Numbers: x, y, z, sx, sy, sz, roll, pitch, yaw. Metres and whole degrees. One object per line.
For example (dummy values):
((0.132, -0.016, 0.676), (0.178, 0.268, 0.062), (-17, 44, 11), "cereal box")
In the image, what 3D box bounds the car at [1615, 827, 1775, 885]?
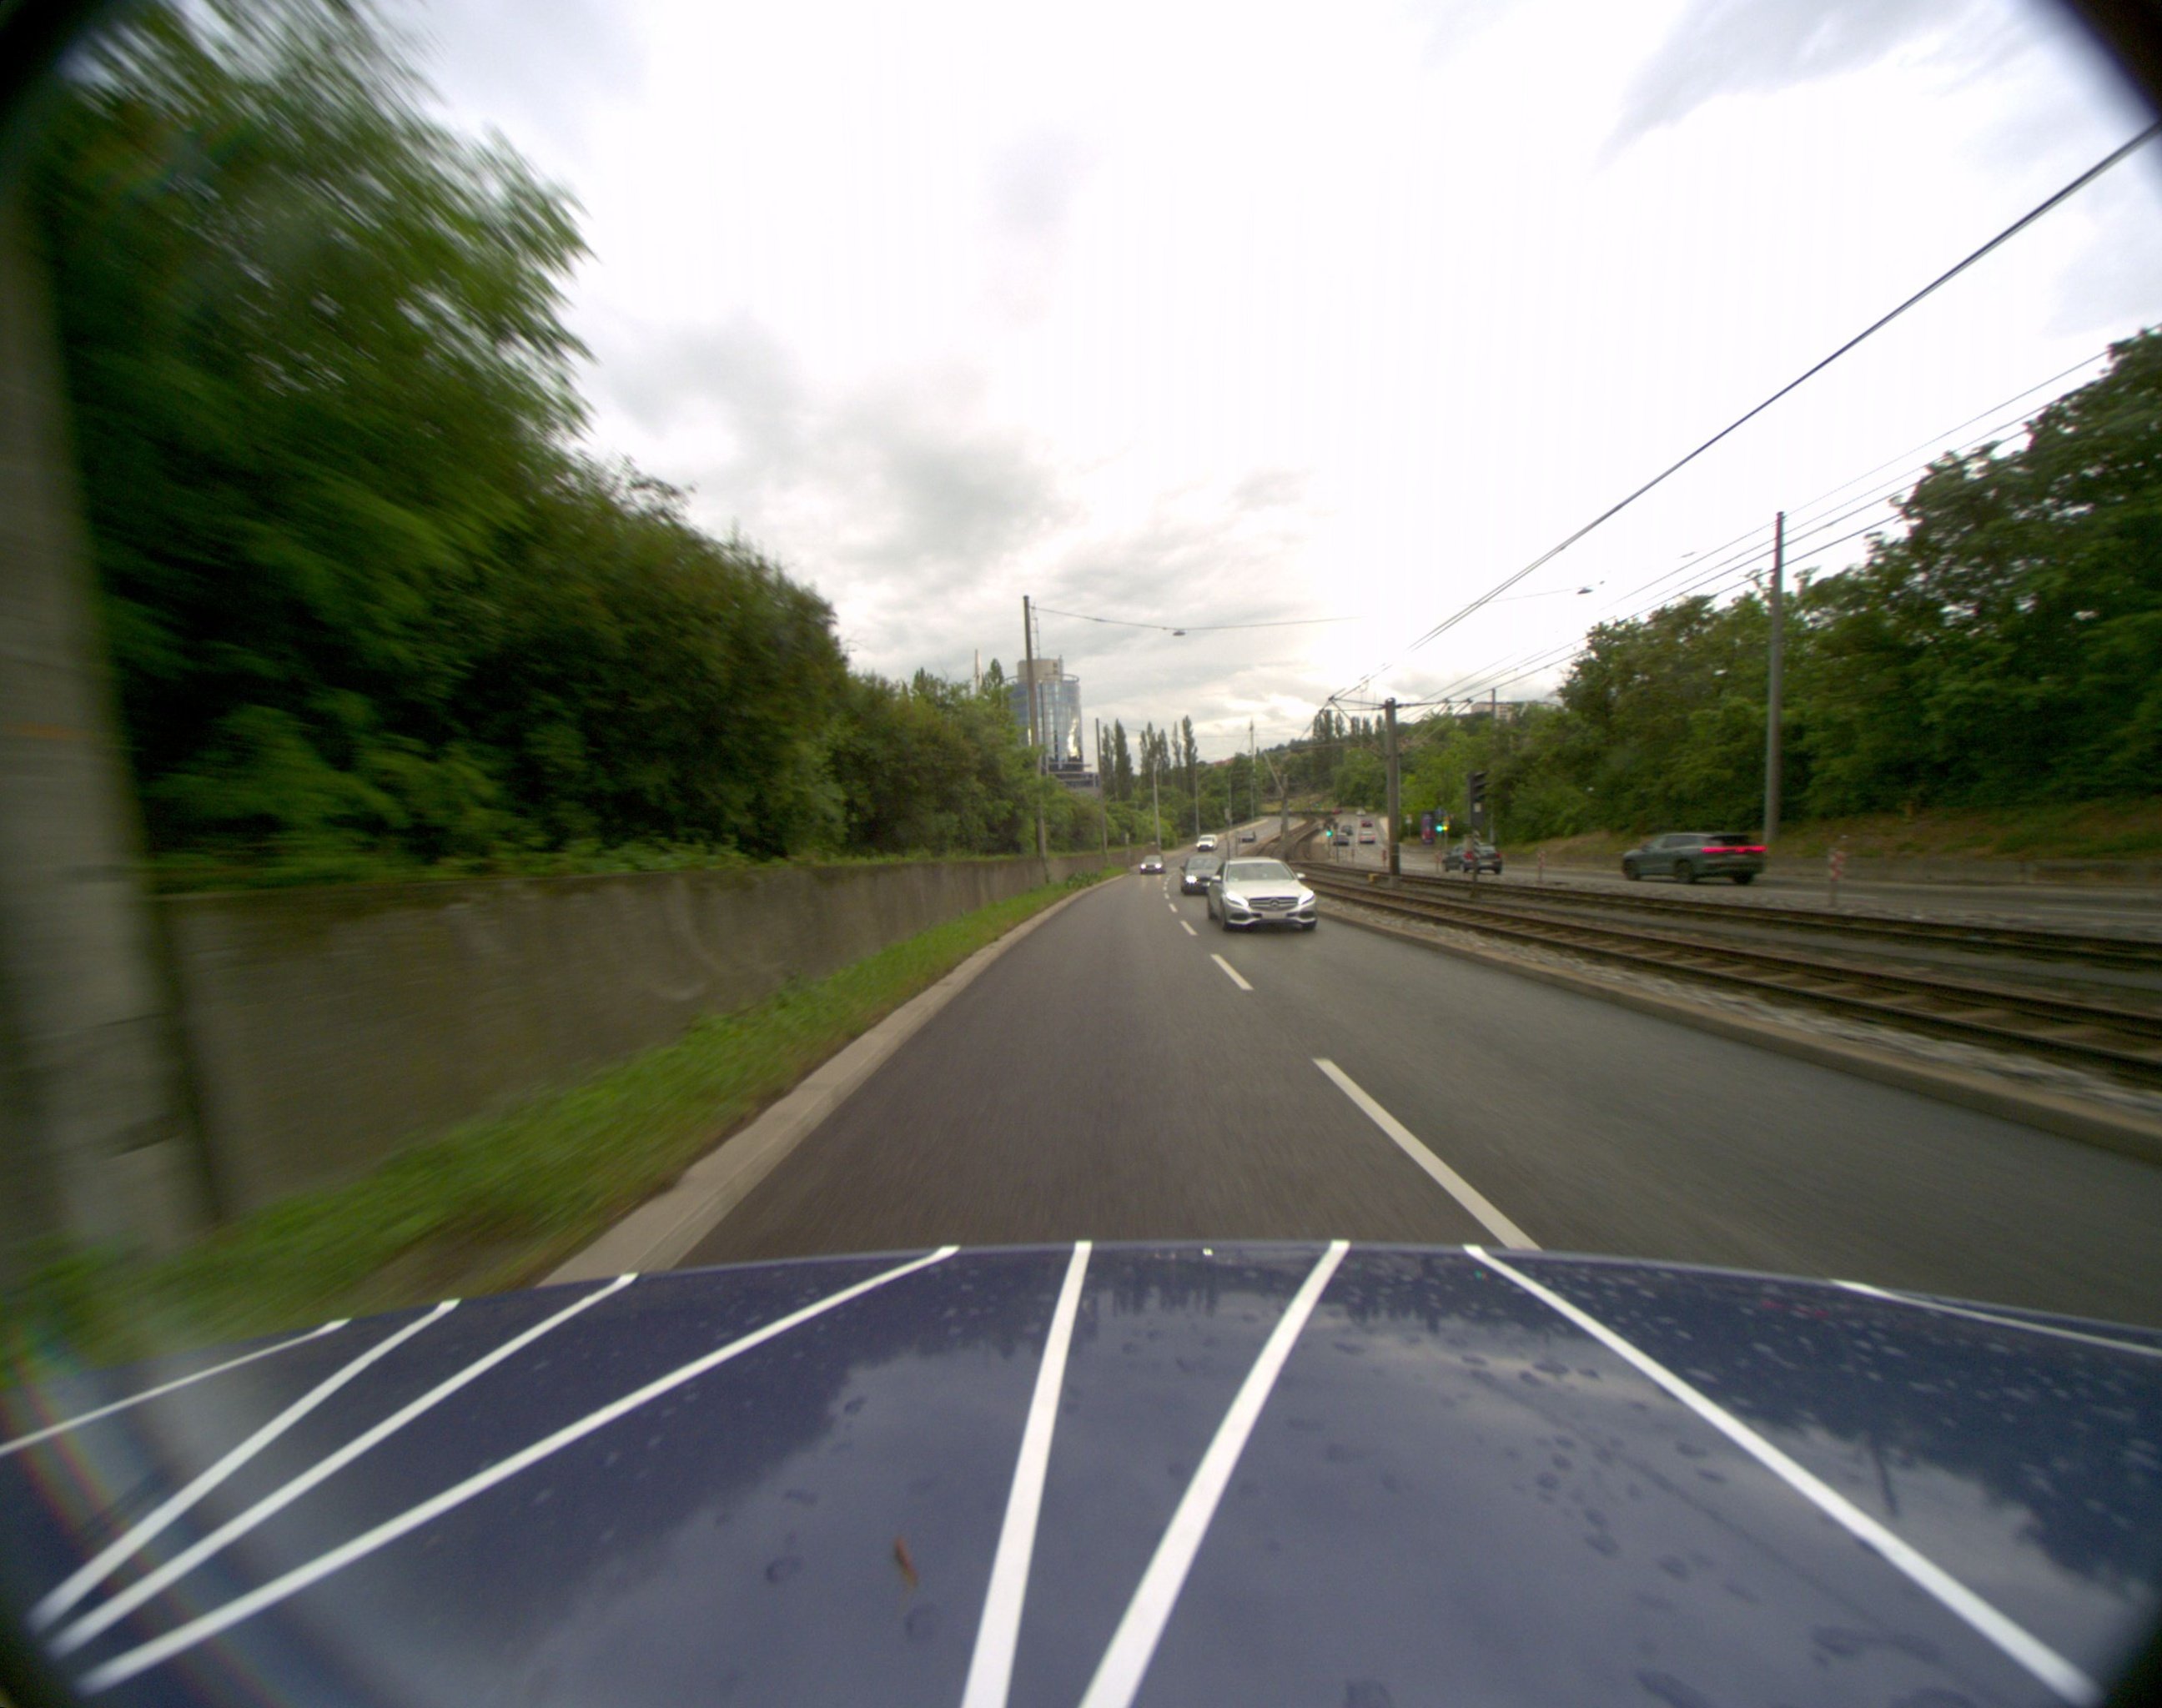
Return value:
((19.873, 0.051, 24.912), (1.788, 1.660, 4.741), (-2, 0, 6), "car")

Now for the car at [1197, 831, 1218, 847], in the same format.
((15.812, -1.865, 95.058), (1.765, 1.806, 4.005), (-2, 0, 21), "car")

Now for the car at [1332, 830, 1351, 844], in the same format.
((32.409, -2.142, 94.616), (1.864, 1.431, 4.858), (-2, 3, 15), "car")

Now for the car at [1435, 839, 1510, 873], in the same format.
((18.197, 0.076, 35.507), (1.709, 1.406, 4.033), (-2, 0, 5), "car")

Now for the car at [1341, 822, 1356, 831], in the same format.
((40.075, -4.074, 113.942), (1.635, 1.377, 3.897), (0, 2, 11), "car")

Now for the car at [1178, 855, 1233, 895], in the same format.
((4.737, 0.753, 29.394), (1.735, 1.344, 4.001), (-2, 0, 5), "car")

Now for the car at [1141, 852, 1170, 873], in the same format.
((5.748, 0.615, 58.553), (1.766, 1.492, 4.003), (-2, 1, 12), "car")

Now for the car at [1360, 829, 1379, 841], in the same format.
((36.744, -2.452, 96.855), (1.821, 1.372, 4.709), (-1, 2, 15), "car")

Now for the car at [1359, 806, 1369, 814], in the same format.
((67.048, -10.434, 180.296), (1.823, 1.507, 4.530), (-2, 5, 16), "car")

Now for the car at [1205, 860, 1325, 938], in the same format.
((3.760, 0.863, 16.222), (1.871, 1.348, 4.061), (-1, 0, 5), "car")

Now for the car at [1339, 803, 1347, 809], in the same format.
((72.889, -13.305, 211.234), (1.971, 1.589, 5.187), (0, 4, 18), "car")

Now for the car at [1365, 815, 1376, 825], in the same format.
((50.689, -6.001, 133.179), (1.718, 1.451, 4.278), (-1, 4, 20), "car")

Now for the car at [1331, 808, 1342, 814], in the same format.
((67.494, -11.331, 200.456), (1.851, 1.589, 4.731), (-1, 4, 7), "car")
